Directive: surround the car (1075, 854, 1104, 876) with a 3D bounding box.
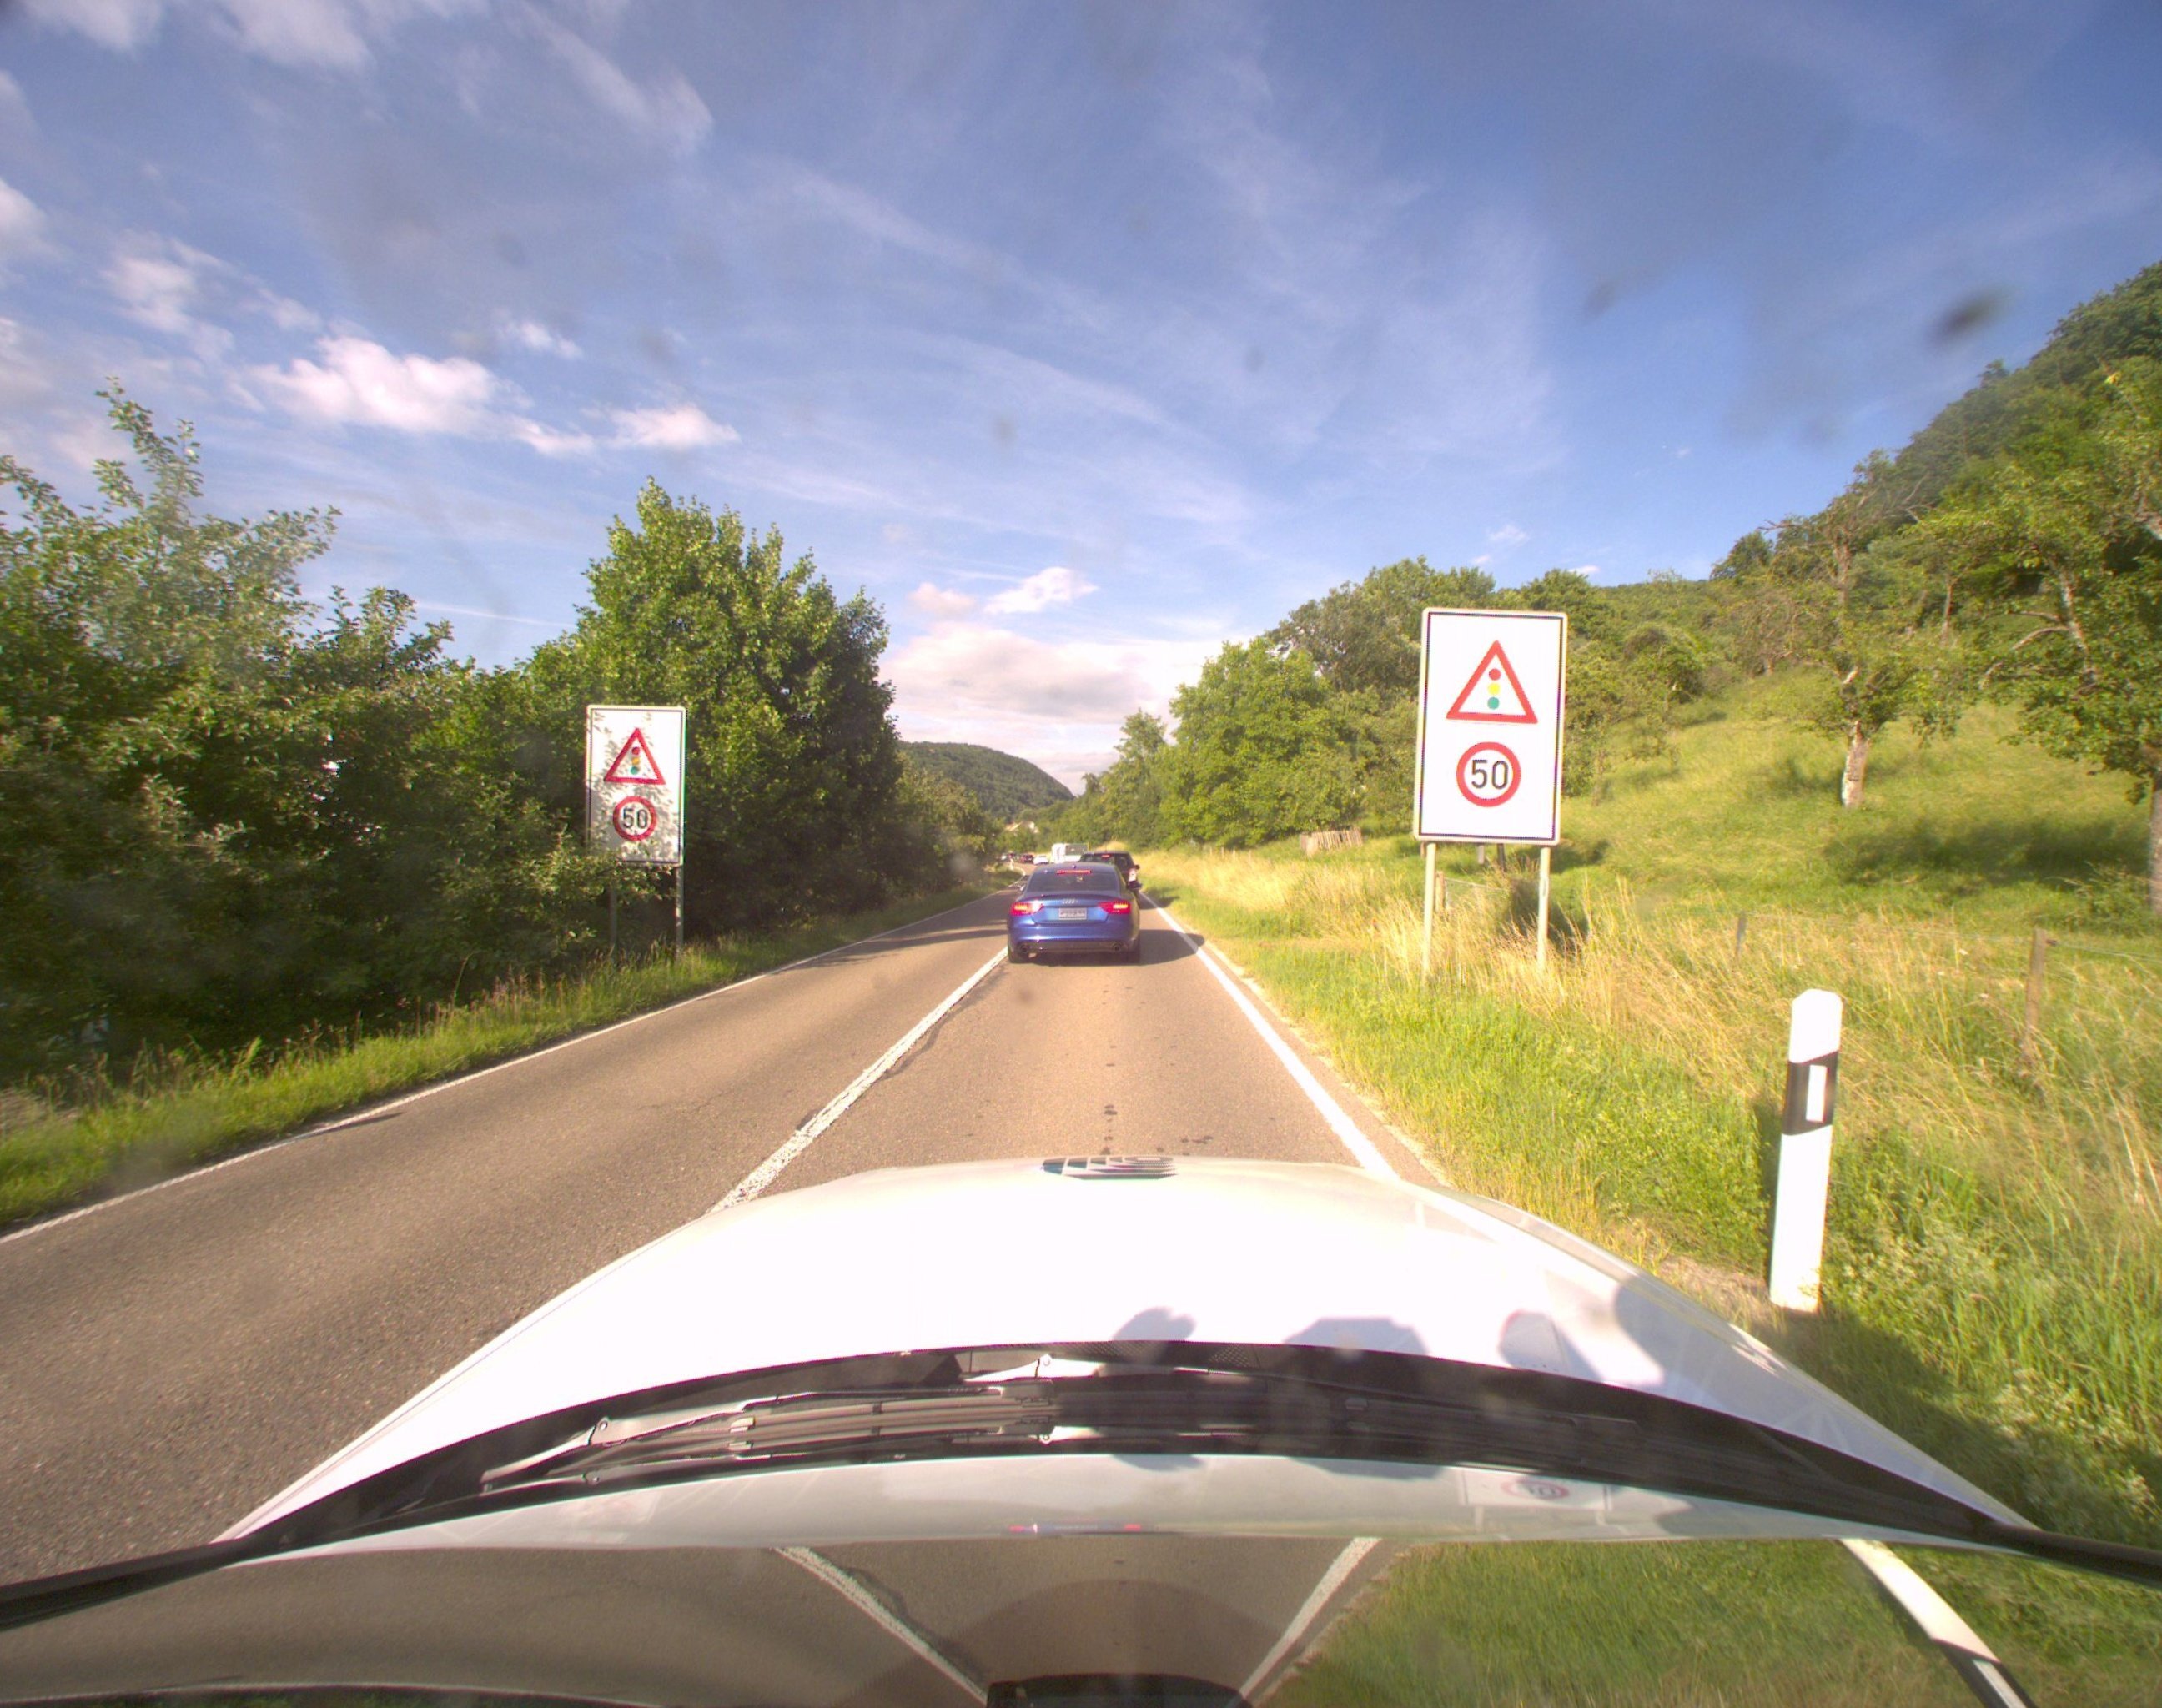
[{"bbox_3d":[0.669,0.752,58.120,1.986,1.482,4.001,-1,-1,2],"label":"car"}]

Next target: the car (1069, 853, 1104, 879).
[{"bbox_3d":[0.373,0.735,49.132,1.986,1.482,4.001,-1,-1,2],"label":"car"}]

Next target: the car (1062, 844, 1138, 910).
[{"bbox_3d":[0.560,0.626,23.303,1.986,1.702,4.001,-1,-1,2],"label":"car"}]

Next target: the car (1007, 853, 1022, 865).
[{"bbox_3d":[-11.520,0.891,140.321,1.996,2.014,3.982,0,-1,-13],"label":"car"}]

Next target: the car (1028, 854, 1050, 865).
[{"bbox_3d":[-5.735,0.784,111.534,1.999,1.482,3.975,0,-1,-19],"label":"car"}]

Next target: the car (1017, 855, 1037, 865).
[{"bbox_3d":[-8.198,0.914,123.488,1.999,1.482,3.975,0,-1,-19],"label":"car"}]

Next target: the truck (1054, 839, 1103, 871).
[{"bbox_3d":[-0.402,0.116,73.244,2.863,2.665,10.360,0,0,-9],"label":"truck"}]

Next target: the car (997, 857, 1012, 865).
[{"bbox_3d":[-14.726,1.385,156.561,2.001,1.482,3.972,0,-1,-21],"label":"car"}]

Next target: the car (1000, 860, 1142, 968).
[{"bbox_3d":[-0.028,0.779,12.301,1.786,1.360,4.003,-1,-1,3],"label":"car"}]

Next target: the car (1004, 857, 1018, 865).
[{"bbox_3d":[-12.742,1.285,147.907,1.997,1.482,3.980,0,-1,-15],"label":"car"}]

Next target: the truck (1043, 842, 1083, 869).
[{"bbox_3d":[-2.040,0.192,87.335,2.863,2.665,10.611,0,0,-9],"label":"truck"}]

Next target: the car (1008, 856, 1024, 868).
[{"bbox_3d":[-10.549,1.322,132.508,1.996,2.014,3.981,0,-1,-14],"label":"car"}]

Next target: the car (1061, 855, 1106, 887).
[{"bbox_3d":[0.189,0.768,38.076,1.986,1.387,4.001,-1,-1,2],"label":"car"}]
